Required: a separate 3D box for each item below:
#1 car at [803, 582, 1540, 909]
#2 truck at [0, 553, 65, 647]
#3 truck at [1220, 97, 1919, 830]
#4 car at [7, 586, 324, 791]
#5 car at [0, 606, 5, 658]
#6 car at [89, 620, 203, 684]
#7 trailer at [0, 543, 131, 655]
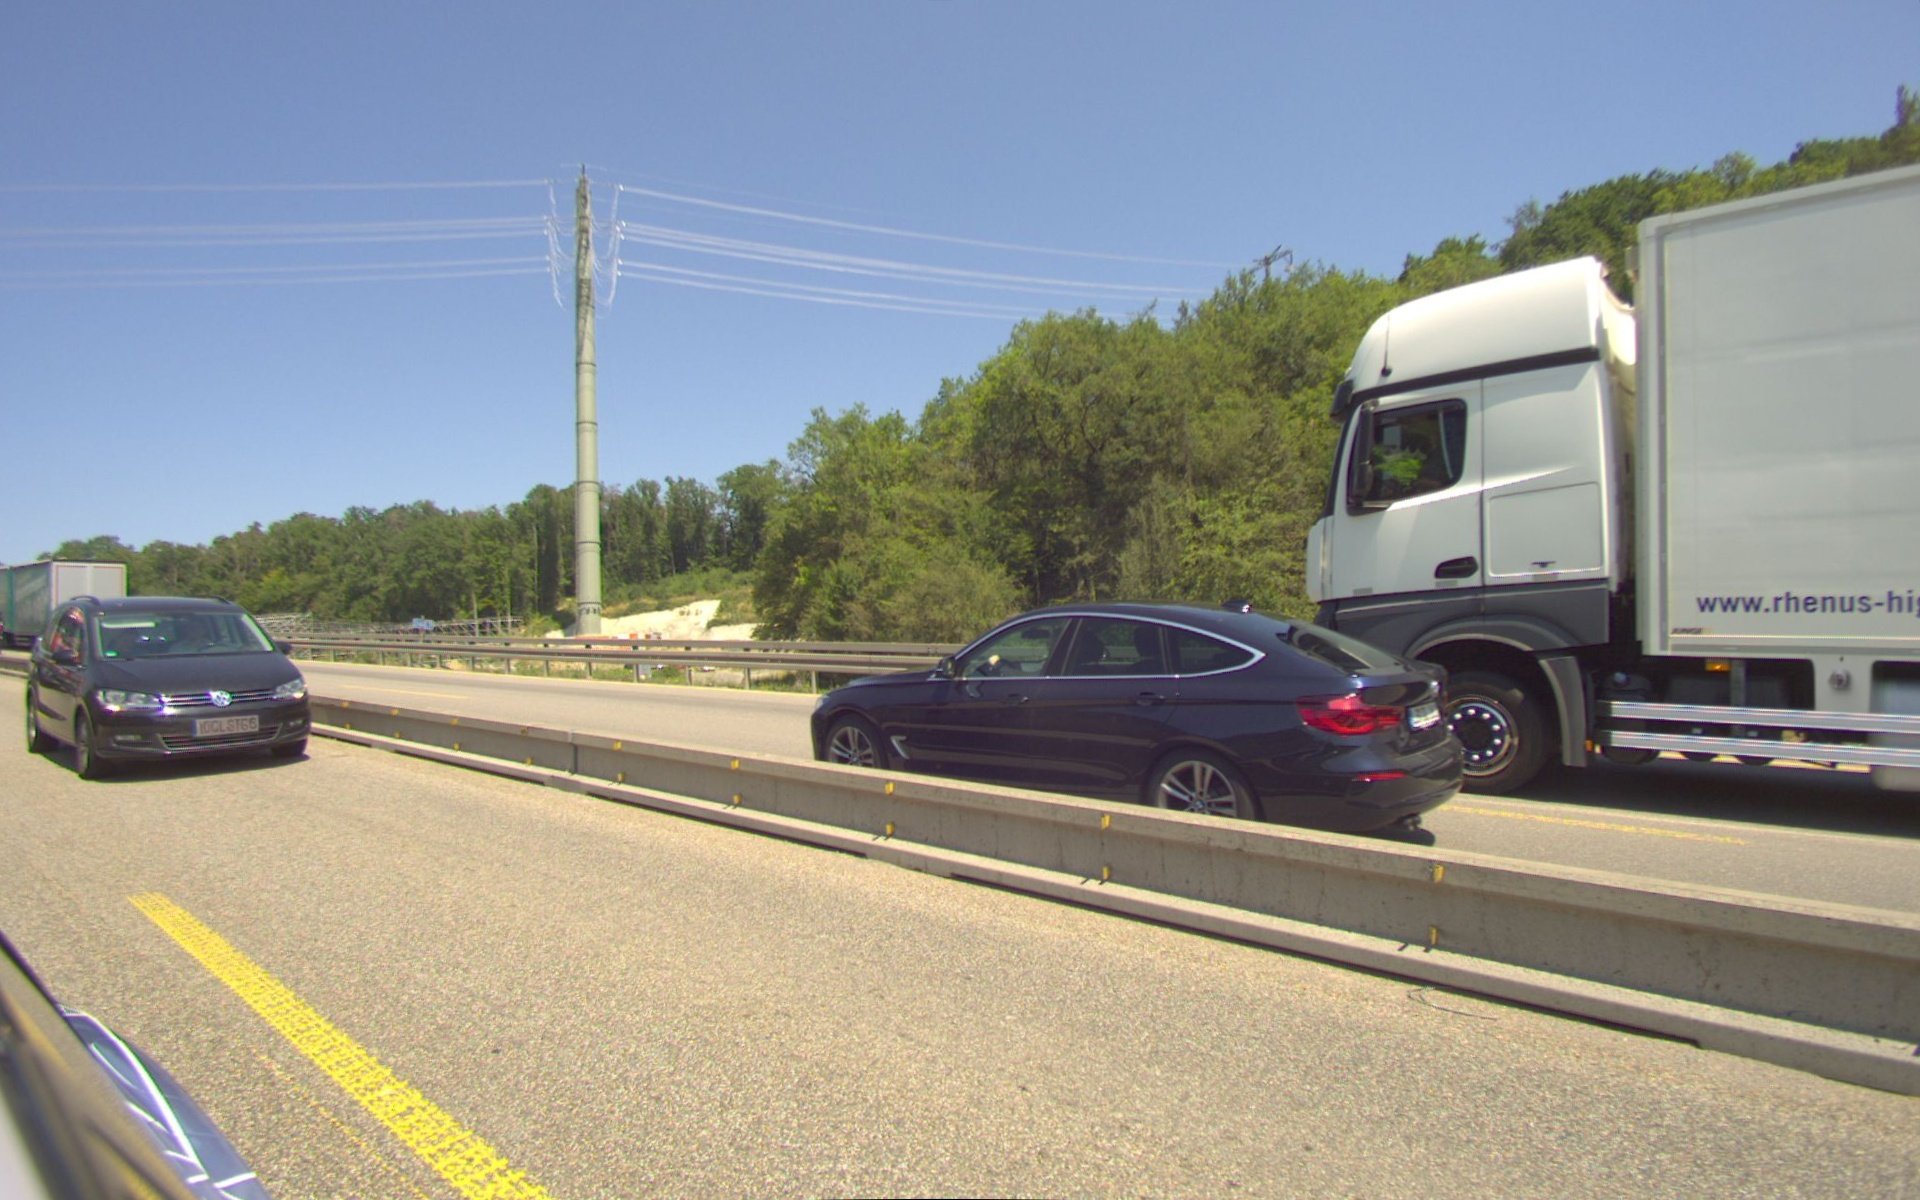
[{"bbox_3d":[1.098,0.707,6.838,4.620,1.490,1.763,-2,-1,42],"label":"car"},{"bbox_3d":[-48.962,0.006,52.410,5.778,4.614,2.820,0,0,37],"label":"truck"},{"bbox_3d":[7.165,-0.807,6.270,10.542,4.194,2.946,-2,-1,42],"label":"truck"},{"bbox_3d":[-8.786,0.806,10.972,5.302,1.719,1.837,-2,-1,42],"label":"car"},{"bbox_3d":[-43.363,1.369,44.018,4.826,2.189,1.974,0,0,38],"label":"car"},{"bbox_3d":[-21.475,1.319,26.644,4.151,1.533,1.565,-1,-1,40],"label":"car"},{"bbox_3d":[-42.971,0.012,47.794,14.560,4.676,2.807,-1,0,38],"label":"trailer"}]
